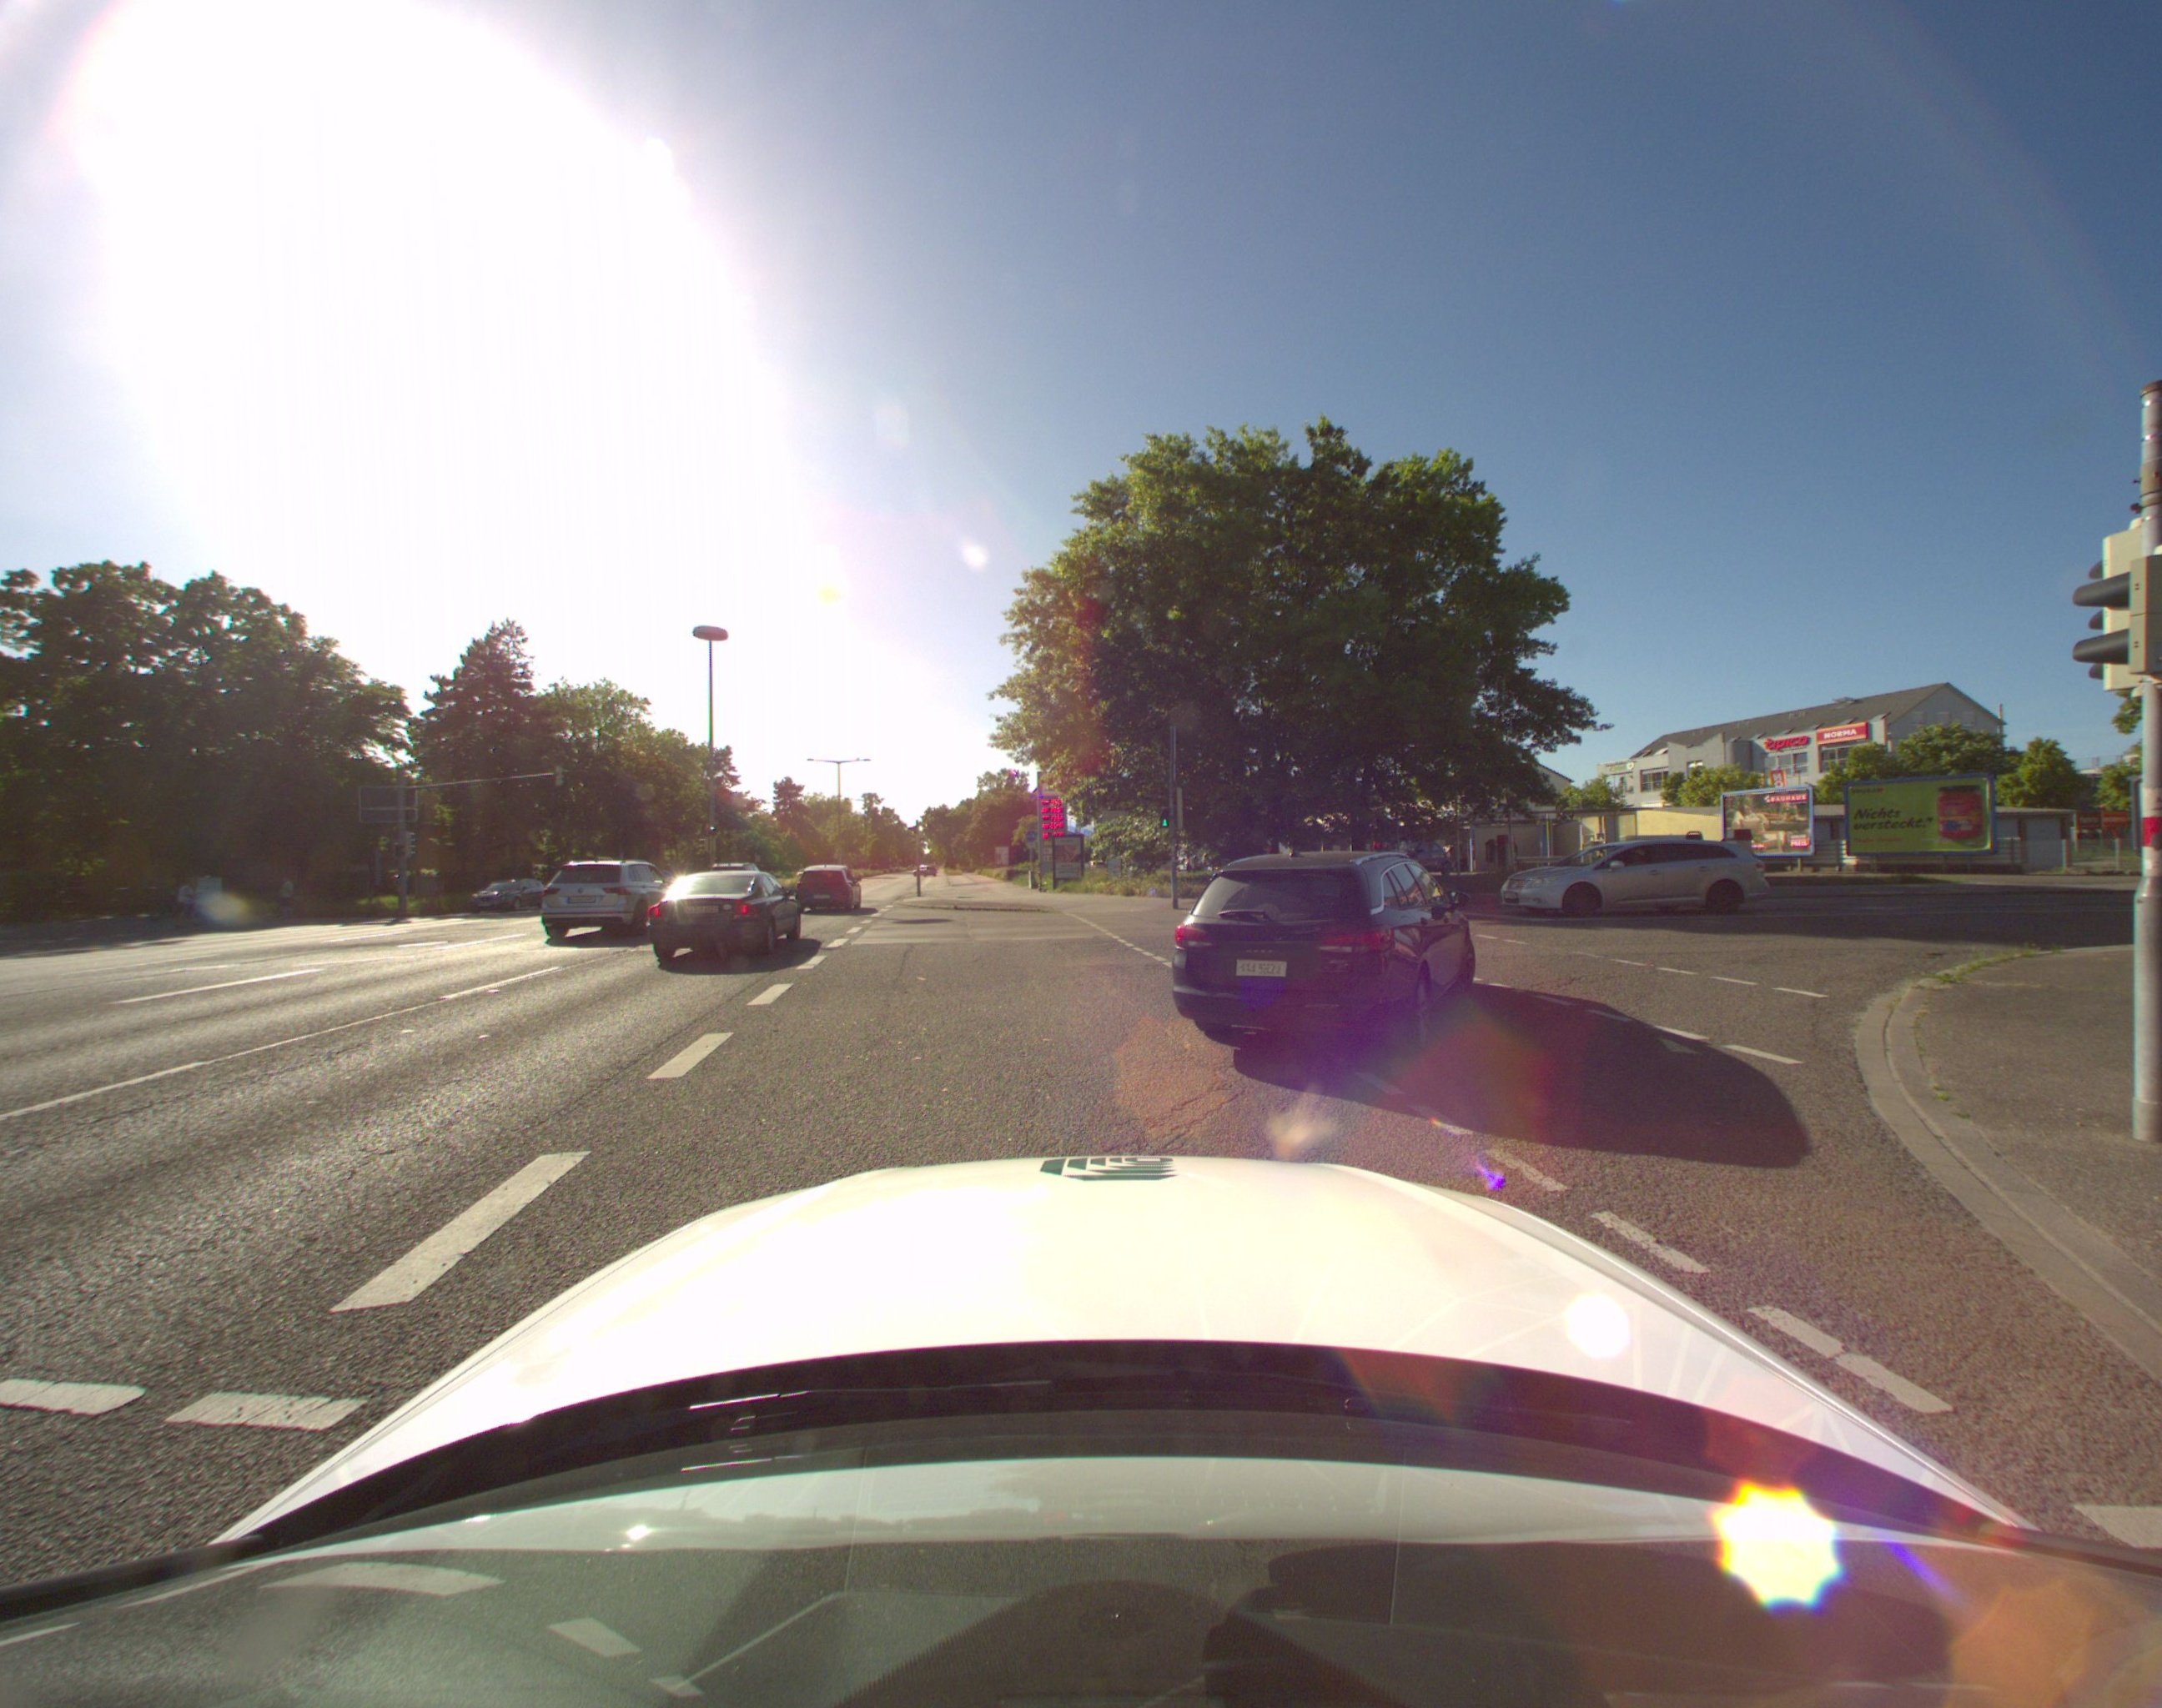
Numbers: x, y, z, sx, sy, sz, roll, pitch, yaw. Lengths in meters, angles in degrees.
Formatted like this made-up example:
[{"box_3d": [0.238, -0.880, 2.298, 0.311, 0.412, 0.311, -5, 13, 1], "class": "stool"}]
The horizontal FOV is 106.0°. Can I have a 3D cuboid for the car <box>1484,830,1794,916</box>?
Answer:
[{"box_3d": [10.942, 0.376, 16.260, 4.855, 1.489, 1.843, -2, -1, 2], "class": "car"}]

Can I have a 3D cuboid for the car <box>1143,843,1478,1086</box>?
[{"box_3d": [2.338, 0.665, 7.297, 1.745, 1.491, 4.318, -1, 0, 32], "class": "car"}]

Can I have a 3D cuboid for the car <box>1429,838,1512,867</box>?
[{"box_3d": [22.557, -0.072, 47.275, 3.989, 1.607, 1.992, 1, -1, -11], "class": "car"}]

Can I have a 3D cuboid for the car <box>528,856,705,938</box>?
[{"box_3d": [-10.508, 0.932, 18.846, 1.941, 1.653, 4.354, 1, -1, -7], "class": "car"}]

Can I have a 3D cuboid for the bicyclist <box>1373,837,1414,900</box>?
[{"box_3d": [8.391, 0.383, 21.895, 0.825, 1.641, 0.542, -2, -1, -4], "class": "bicyclist"}]

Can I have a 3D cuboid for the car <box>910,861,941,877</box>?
[{"box_3d": [-20.781, 2.007, 108.543, 3.949, 2.014, 2.012, -1, -2, 40], "class": "car"}]

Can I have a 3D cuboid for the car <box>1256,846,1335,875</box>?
[{"box_3d": [11.620, 0.385, 44.161, 4.000, 1.512, 1.522, 1, -1, -20], "class": "car"}]

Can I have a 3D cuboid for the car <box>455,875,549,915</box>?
[{"box_3d": [-25.992, 1.810, 36.722, 1.802, 1.653, 4.090, 1, -1, -10], "class": "car"}]

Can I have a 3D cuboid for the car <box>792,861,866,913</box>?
[{"box_3d": [-8.480, 1.077, 27.735, 1.836, 1.588, 4.349, 0, -1, -10], "class": "car"}]

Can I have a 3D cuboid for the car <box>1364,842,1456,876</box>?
[{"box_3d": [14.287, 0.245, 35.316, 4.015, 1.376, 1.741, 1, -2, -34], "class": "car"}]

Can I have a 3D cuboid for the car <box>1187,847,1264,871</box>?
[{"box_3d": [8.259, 0.307, 46.478, 4.001, 1.335, 1.786, 1, -1, -21], "class": "car"}]

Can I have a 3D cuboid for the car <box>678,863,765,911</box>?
[{"box_3d": [-13.256, 1.191, 30.306, 1.910, 1.653, 4.349, 1, -1, -10], "class": "car"}]

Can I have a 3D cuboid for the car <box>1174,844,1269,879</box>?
[{"box_3d": [8.940, 0.492, 51.870, 5.637, 2.099, 1.992, 1, -1, -11], "class": "car"}]

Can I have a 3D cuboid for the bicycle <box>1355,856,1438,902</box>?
[{"box_3d": [8.480, 0.667, 21.907, 2.015, 1.141, 0.528, -2, -1, -4], "class": "bicycle"}]

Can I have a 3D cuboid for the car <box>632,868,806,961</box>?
[{"box_3d": [-6.221, 0.969, 14.549, 1.837, 1.395, 4.348, 1, -1, -11], "class": "car"}]
